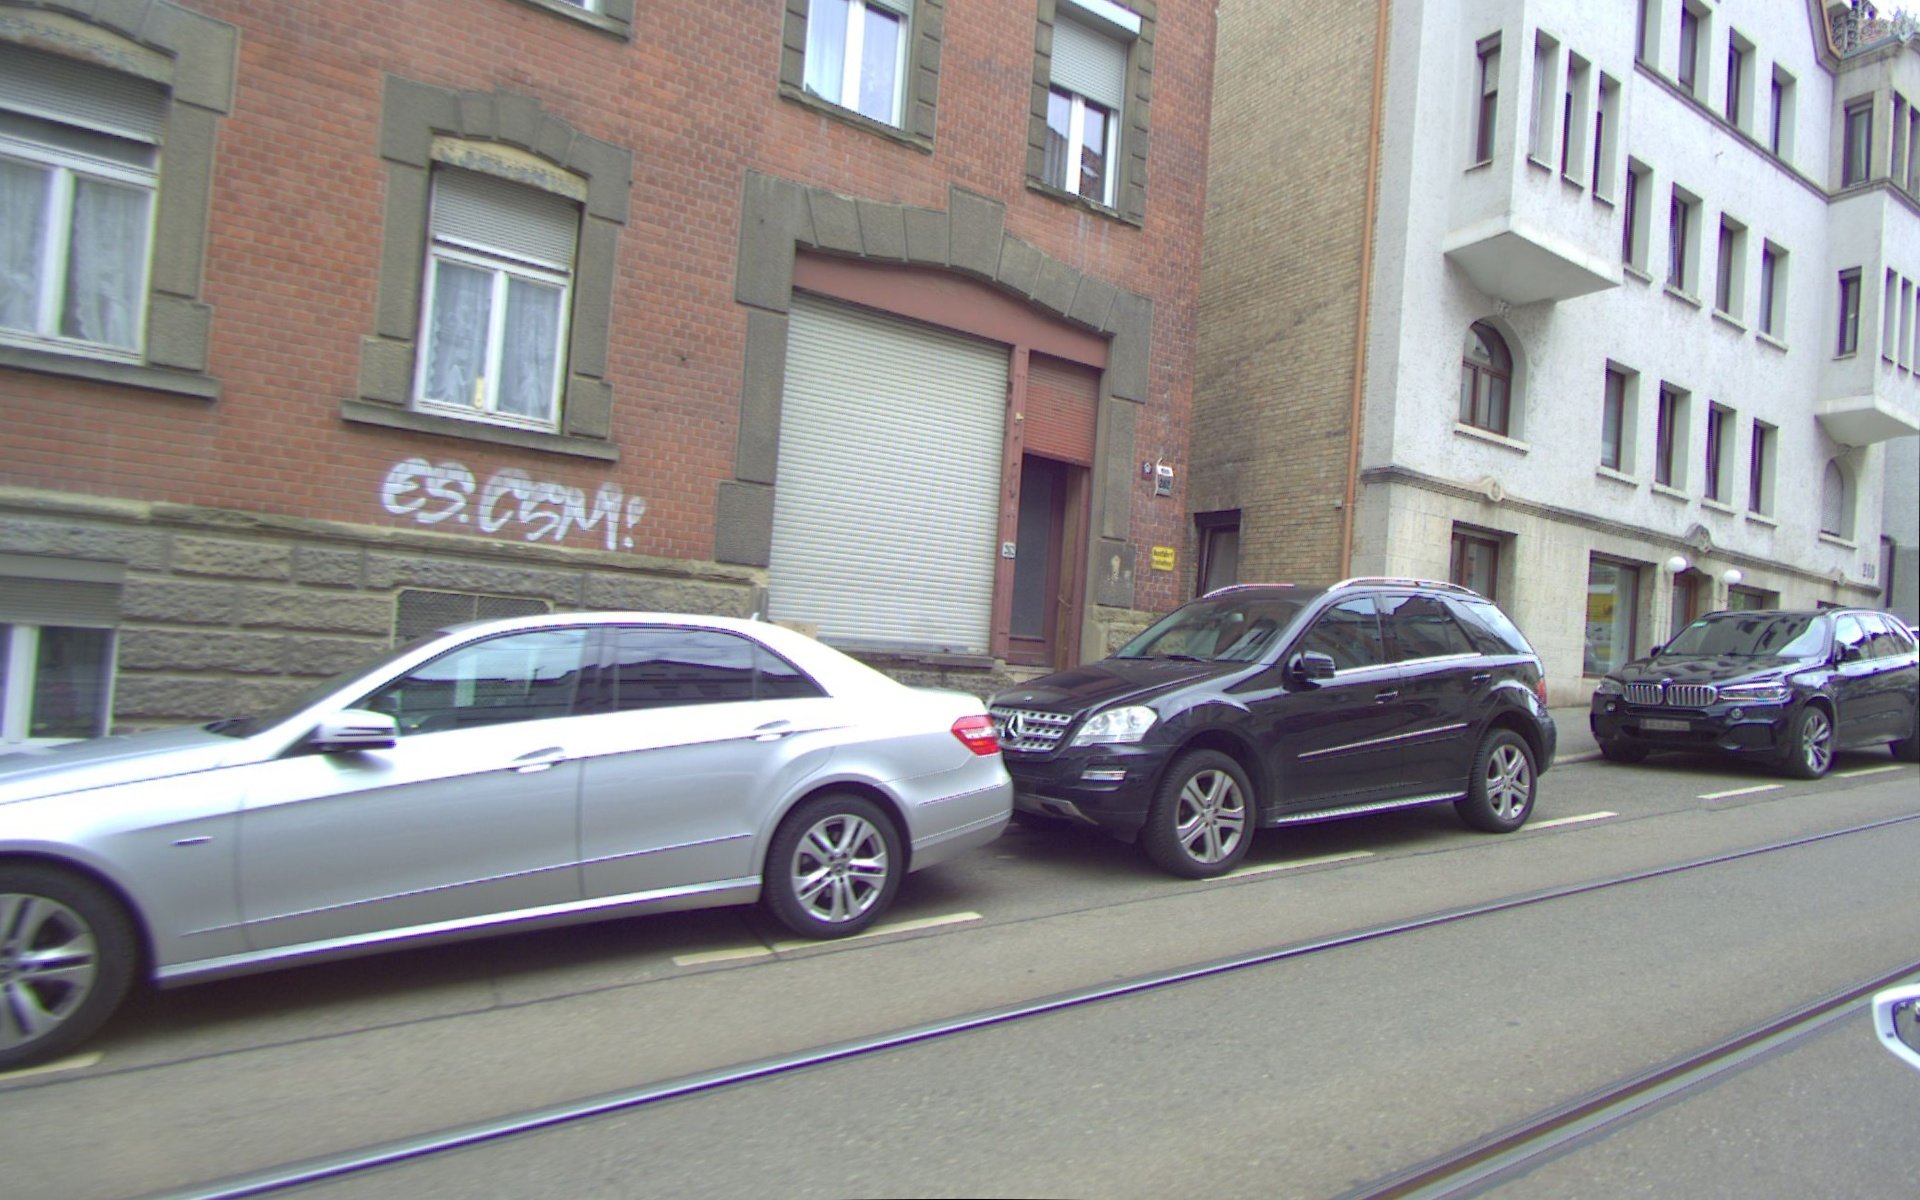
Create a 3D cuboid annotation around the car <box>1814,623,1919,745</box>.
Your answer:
[{"bbox_3d":[14.433,1.159,14.639,4.217,1.615,1.689,1,-2,-30],"label":"car"}]

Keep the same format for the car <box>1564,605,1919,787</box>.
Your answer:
[{"bbox_3d":[9.145,0.964,11.362,4.833,1.686,1.865,1,-2,-30],"label":"car"}]

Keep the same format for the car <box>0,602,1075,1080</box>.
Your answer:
[{"bbox_3d":[-1.929,0.791,4.687,4.781,1.448,1.819,1,-2,-30],"label":"car"}]

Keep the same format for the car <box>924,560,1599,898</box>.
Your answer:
[{"bbox_3d":[2.298,0.738,7.207,4.855,1.741,1.819,1,-2,-30],"label":"car"}]
